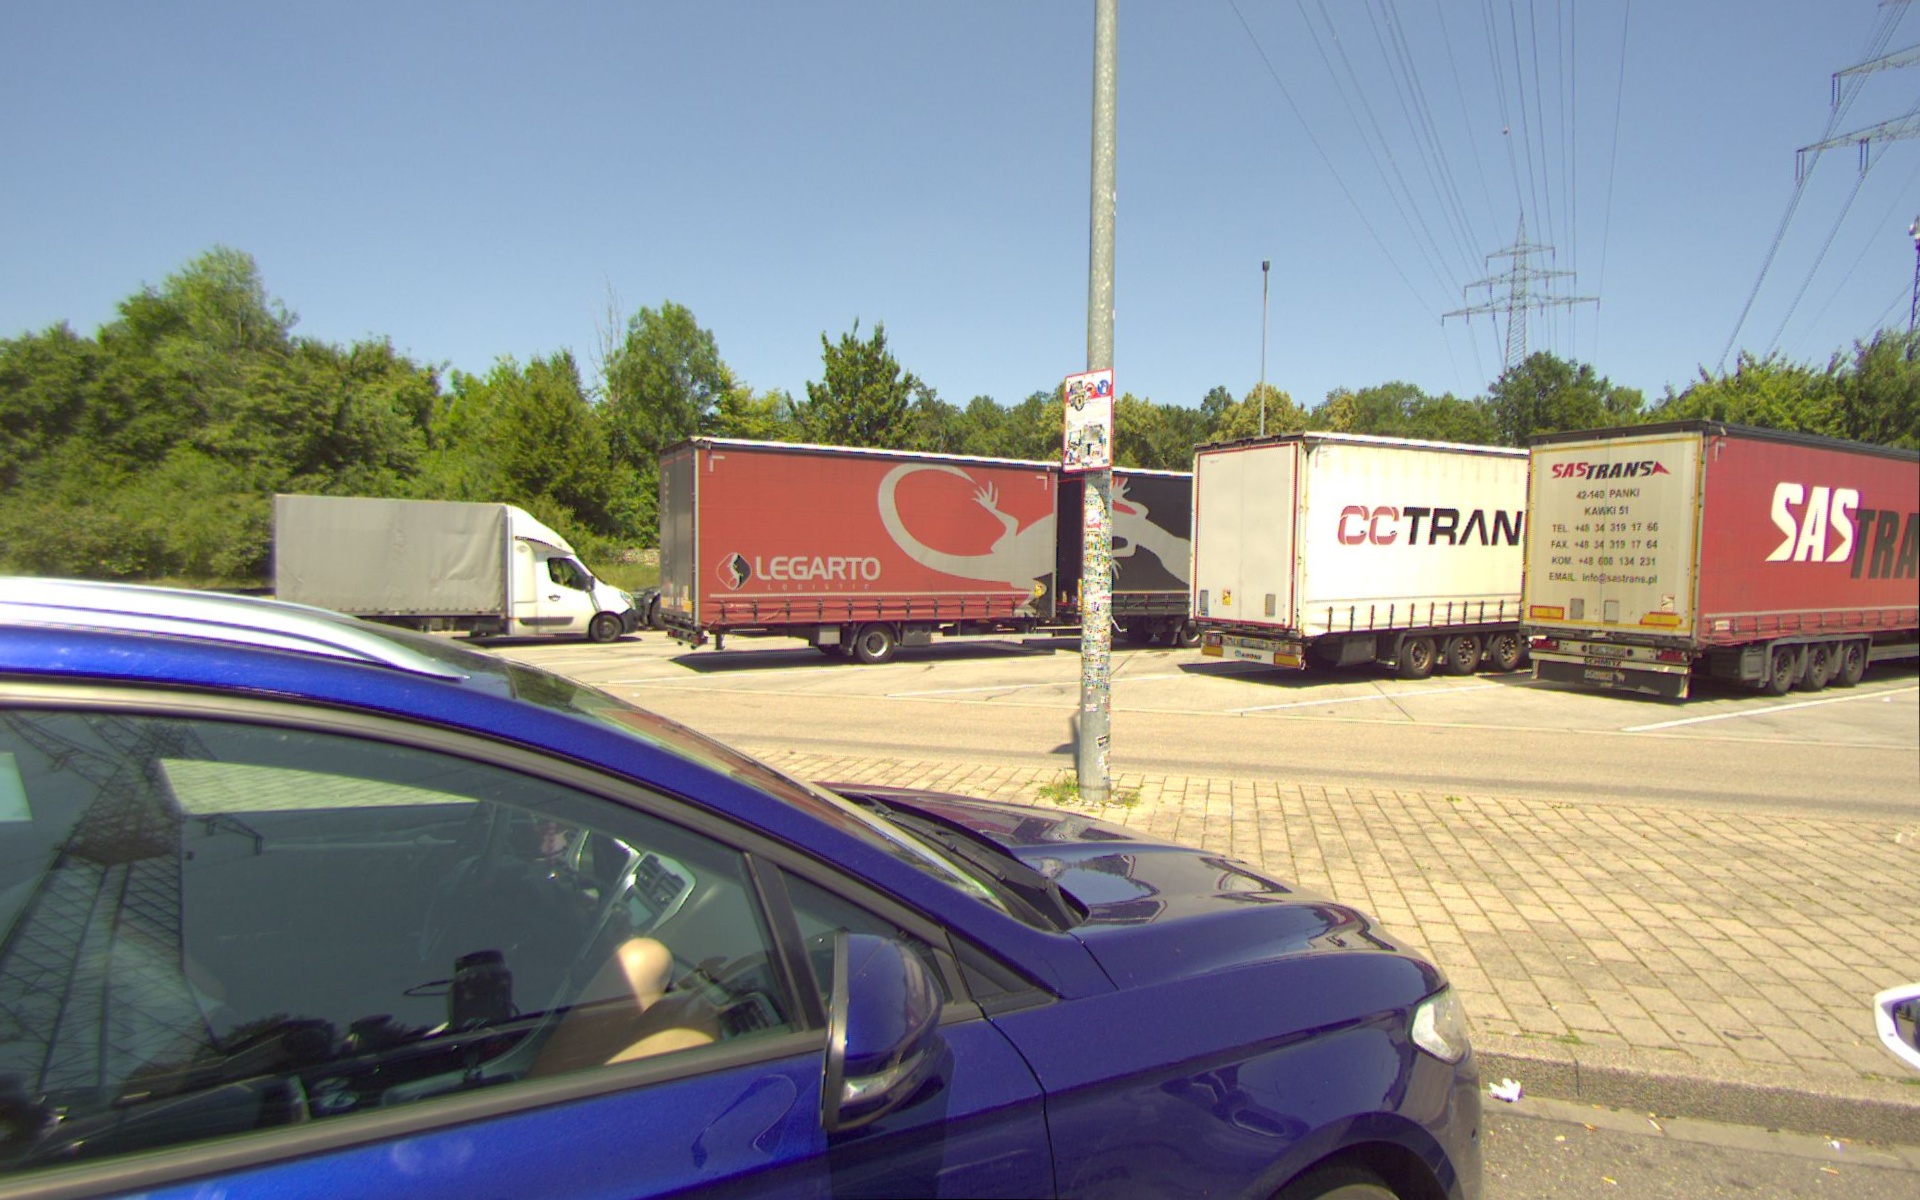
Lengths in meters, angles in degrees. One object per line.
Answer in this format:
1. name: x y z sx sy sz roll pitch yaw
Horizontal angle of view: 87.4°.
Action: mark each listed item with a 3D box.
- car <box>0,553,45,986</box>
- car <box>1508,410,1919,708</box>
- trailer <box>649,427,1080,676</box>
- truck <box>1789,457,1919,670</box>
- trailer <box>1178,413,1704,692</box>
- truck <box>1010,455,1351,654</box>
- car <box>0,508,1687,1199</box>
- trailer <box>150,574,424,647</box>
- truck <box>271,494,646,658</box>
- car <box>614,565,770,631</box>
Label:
1. car: -4.605 0.553 2.112 3.700 1.432 1.595 0 0 -32
2. car: 15.222 -0.692 18.452 12.777 4.169 2.683 -1 3 -30
3. trailer: -1.738 -0.929 20.501 8.389 4.248 2.800 -1 2 -30
4. truck: 21.147 -0.772 21.864 6.163 4.169 2.683 -1 3 -30
5. trailer: 10.117 -0.881 20.065 12.786 4.325 2.800 -1 2 -31
6. truck: 5.608 -1.077 24.825 8.683 4.248 2.800 -1 2 -30
7. car: -0.979 0.667 1.461 4.380 1.464 1.771 0 0 -32
8. trailer: -15.945 0.241 24.175 5.332 1.617 1.585 0 0 -30
9. truck: -11.109 -0.586 22.869 7.219 3.277 2.308 -2 3 -29
10. car: -7.600 -0.047 28.512 3.953 1.773 1.902 0 0 -30
